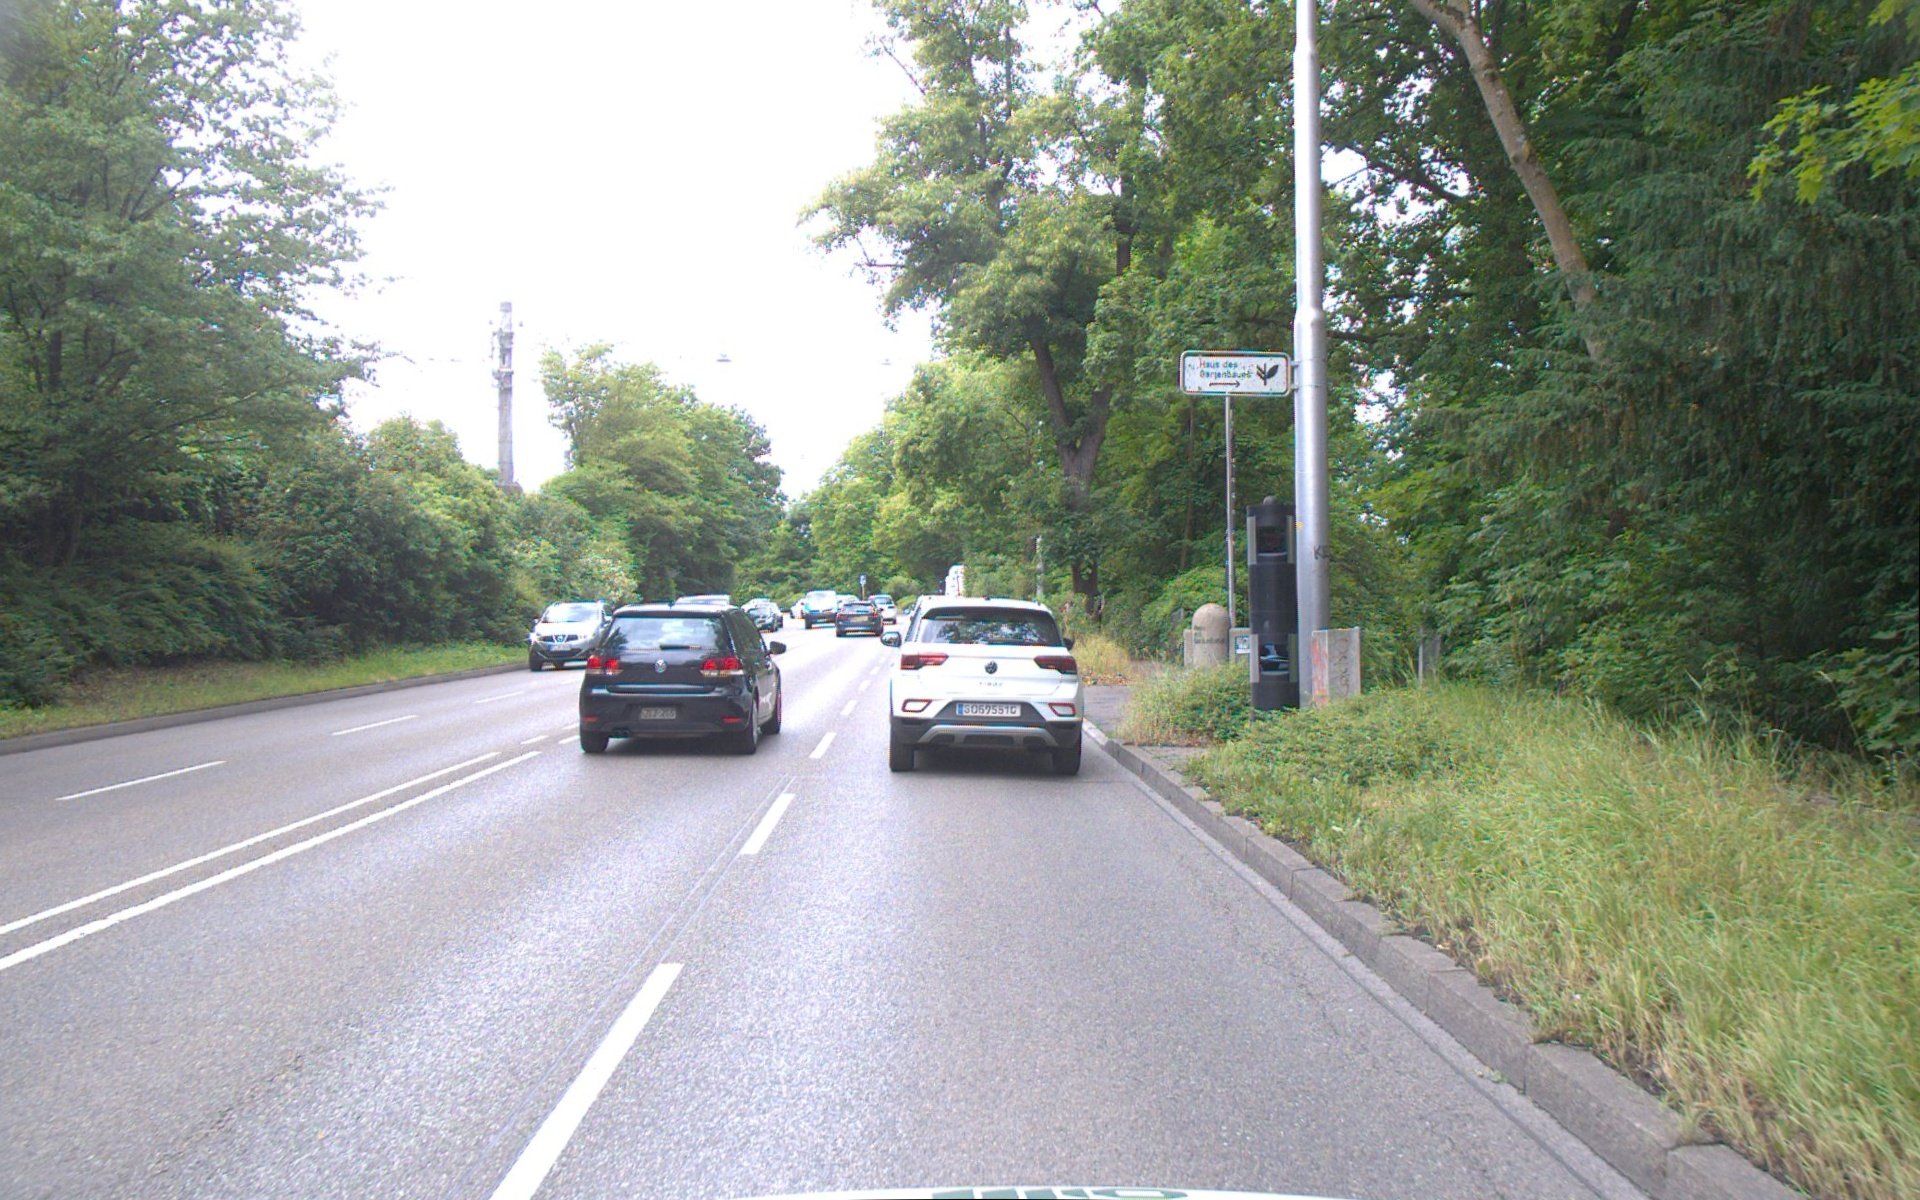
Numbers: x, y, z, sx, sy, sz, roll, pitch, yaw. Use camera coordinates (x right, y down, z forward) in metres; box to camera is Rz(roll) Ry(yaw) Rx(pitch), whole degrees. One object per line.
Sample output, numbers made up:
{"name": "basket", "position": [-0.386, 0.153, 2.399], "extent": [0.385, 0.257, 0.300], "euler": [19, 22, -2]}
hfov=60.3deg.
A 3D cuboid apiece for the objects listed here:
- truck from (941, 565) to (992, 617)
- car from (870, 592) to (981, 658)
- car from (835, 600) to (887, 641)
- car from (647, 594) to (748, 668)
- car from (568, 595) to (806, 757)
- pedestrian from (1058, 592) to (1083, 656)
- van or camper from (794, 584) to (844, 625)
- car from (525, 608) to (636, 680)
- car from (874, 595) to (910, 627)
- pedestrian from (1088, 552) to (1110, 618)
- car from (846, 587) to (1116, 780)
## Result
{"name": "truck", "position": [0.372, -0.526, 107.254], "extent": [2.434, 3.237, 7.218], "euler": [1, 0, -6]}
{"name": "car", "position": [-1.036, 0.679, 47.720], "extent": [1.826, 1.732, 3.972], "euler": [-3, 1, -23]}
{"name": "car", "position": [-4.052, 0.829, 68.155], "extent": [1.953, 1.620, 3.999], "euler": [1, 0, -1]}
{"name": "car", "position": [-6.456, 0.767, 41.171], "extent": [1.773, 1.691, 4.829], "euler": [-1, -1, -1]}
{"name": "car", "position": [-2.747, 0.724, 17.528], "extent": [1.910, 1.492, 3.999], "euler": [1, 0, -1]}
{"name": "pedestrian", "position": [3.011, 0.653, 45.241], "extent": [0.597, 1.727, 0.548], "euler": [1, -1, -5]}
{"name": "van or camper", "position": [-7.751, 0.250, 90.505], "extent": [1.959, 2.048, 5.351], "euler": [-3, 0, -12]}
{"name": "car", "position": [-9.307, 1.043, 40.869], "extent": [1.755, 1.640, 4.189], "euler": [-2, 0, -1]}
{"name": "car", "position": [-3.579, 0.577, 87.716], "extent": [1.785, 1.651, 3.999], "euler": [1, 0, -1]}
{"name": "pedestrian", "position": [3.822, -0.403, 45.396], "extent": [0.509, 1.784, 0.524], "euler": [1, -1, -5]}
{"name": "car", "position": [0.059, 0.726, 16.027], "extent": [1.964, 1.624, 3.992], "euler": [1, 0, -9]}
